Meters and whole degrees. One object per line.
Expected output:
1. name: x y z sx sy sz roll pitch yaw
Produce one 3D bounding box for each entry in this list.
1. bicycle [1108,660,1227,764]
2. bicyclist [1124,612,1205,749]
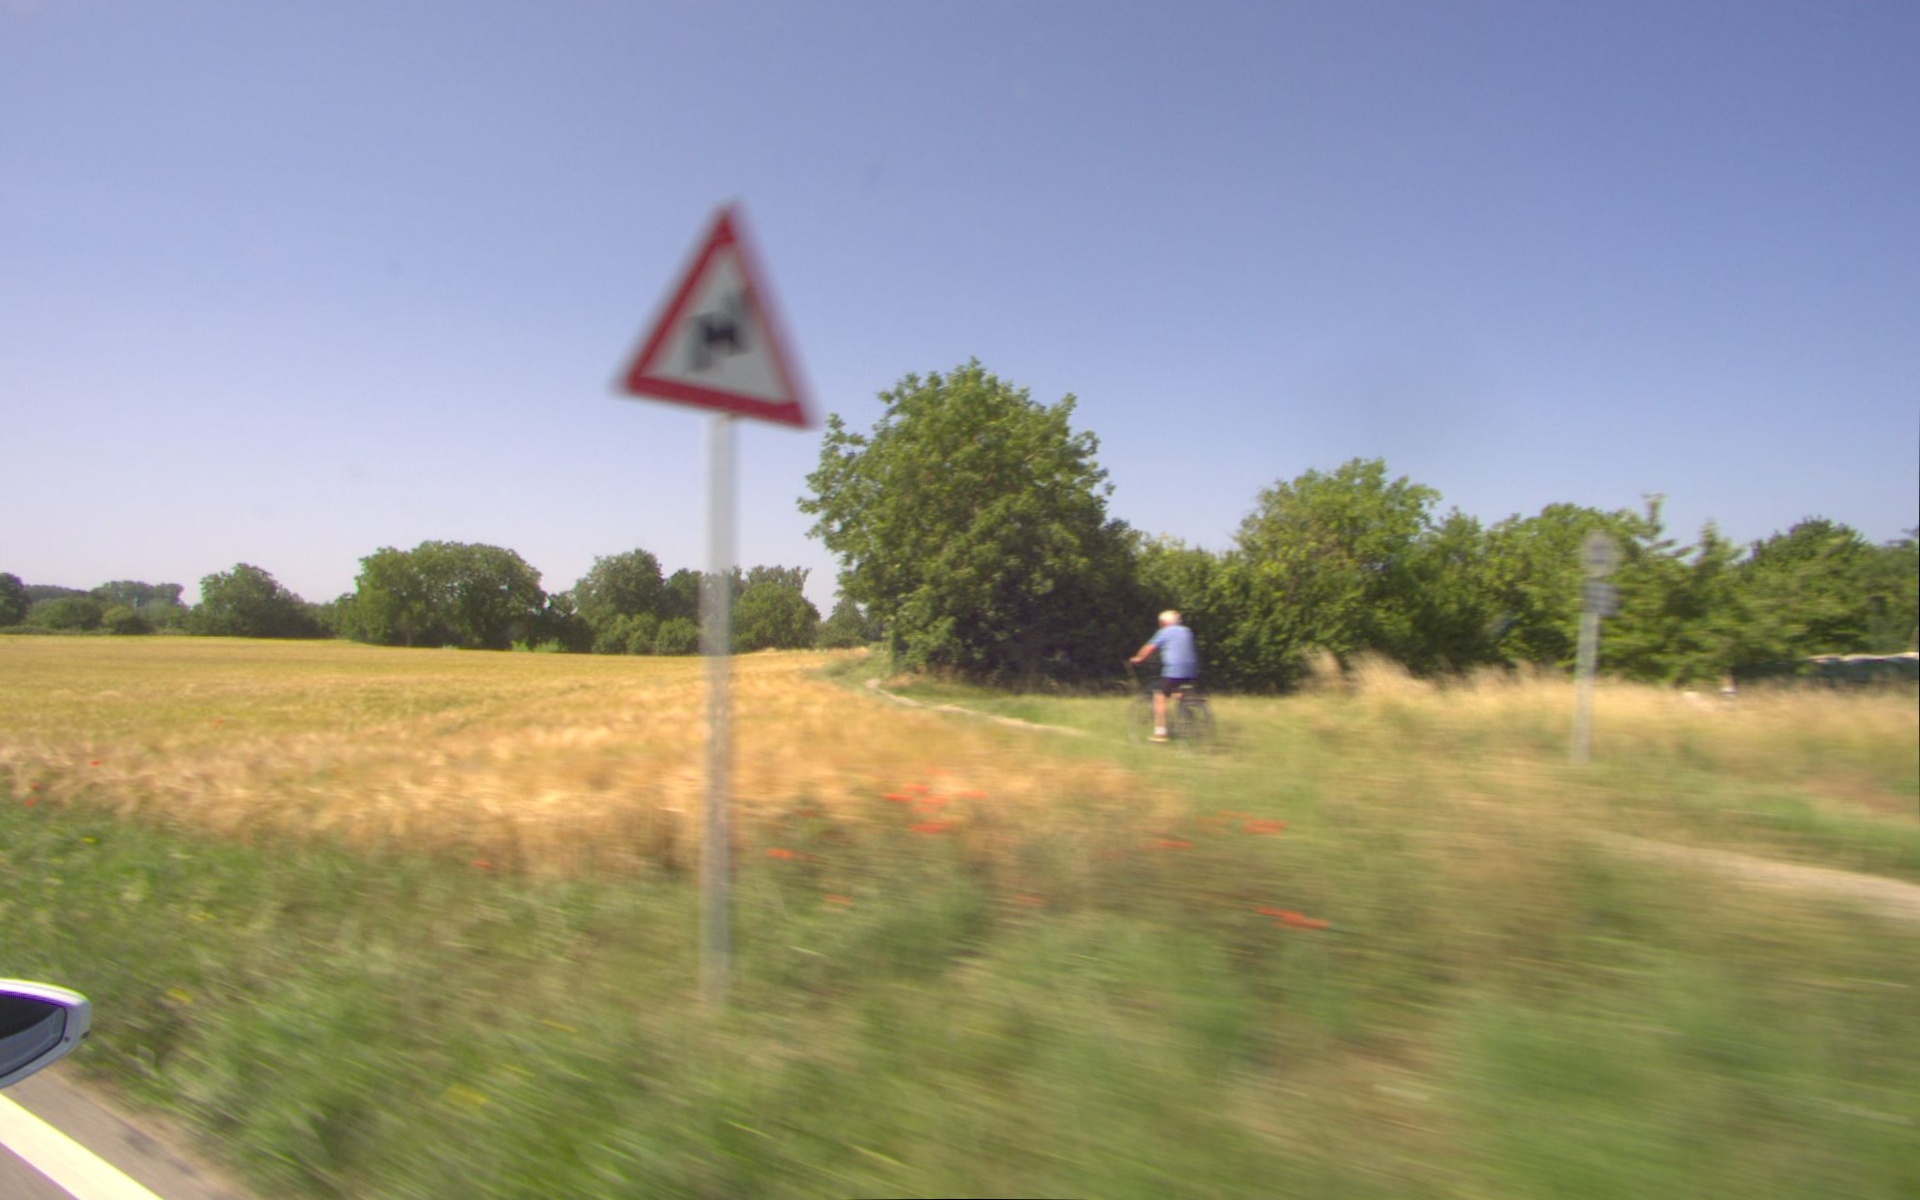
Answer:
1. bicycle: 2.485 1.311 12.183 0.513 1.130 1.764 1 -2 -23
2. bicyclist: 2.487 0.964 12.192 0.664 1.593 0.733 1 -2 -23
